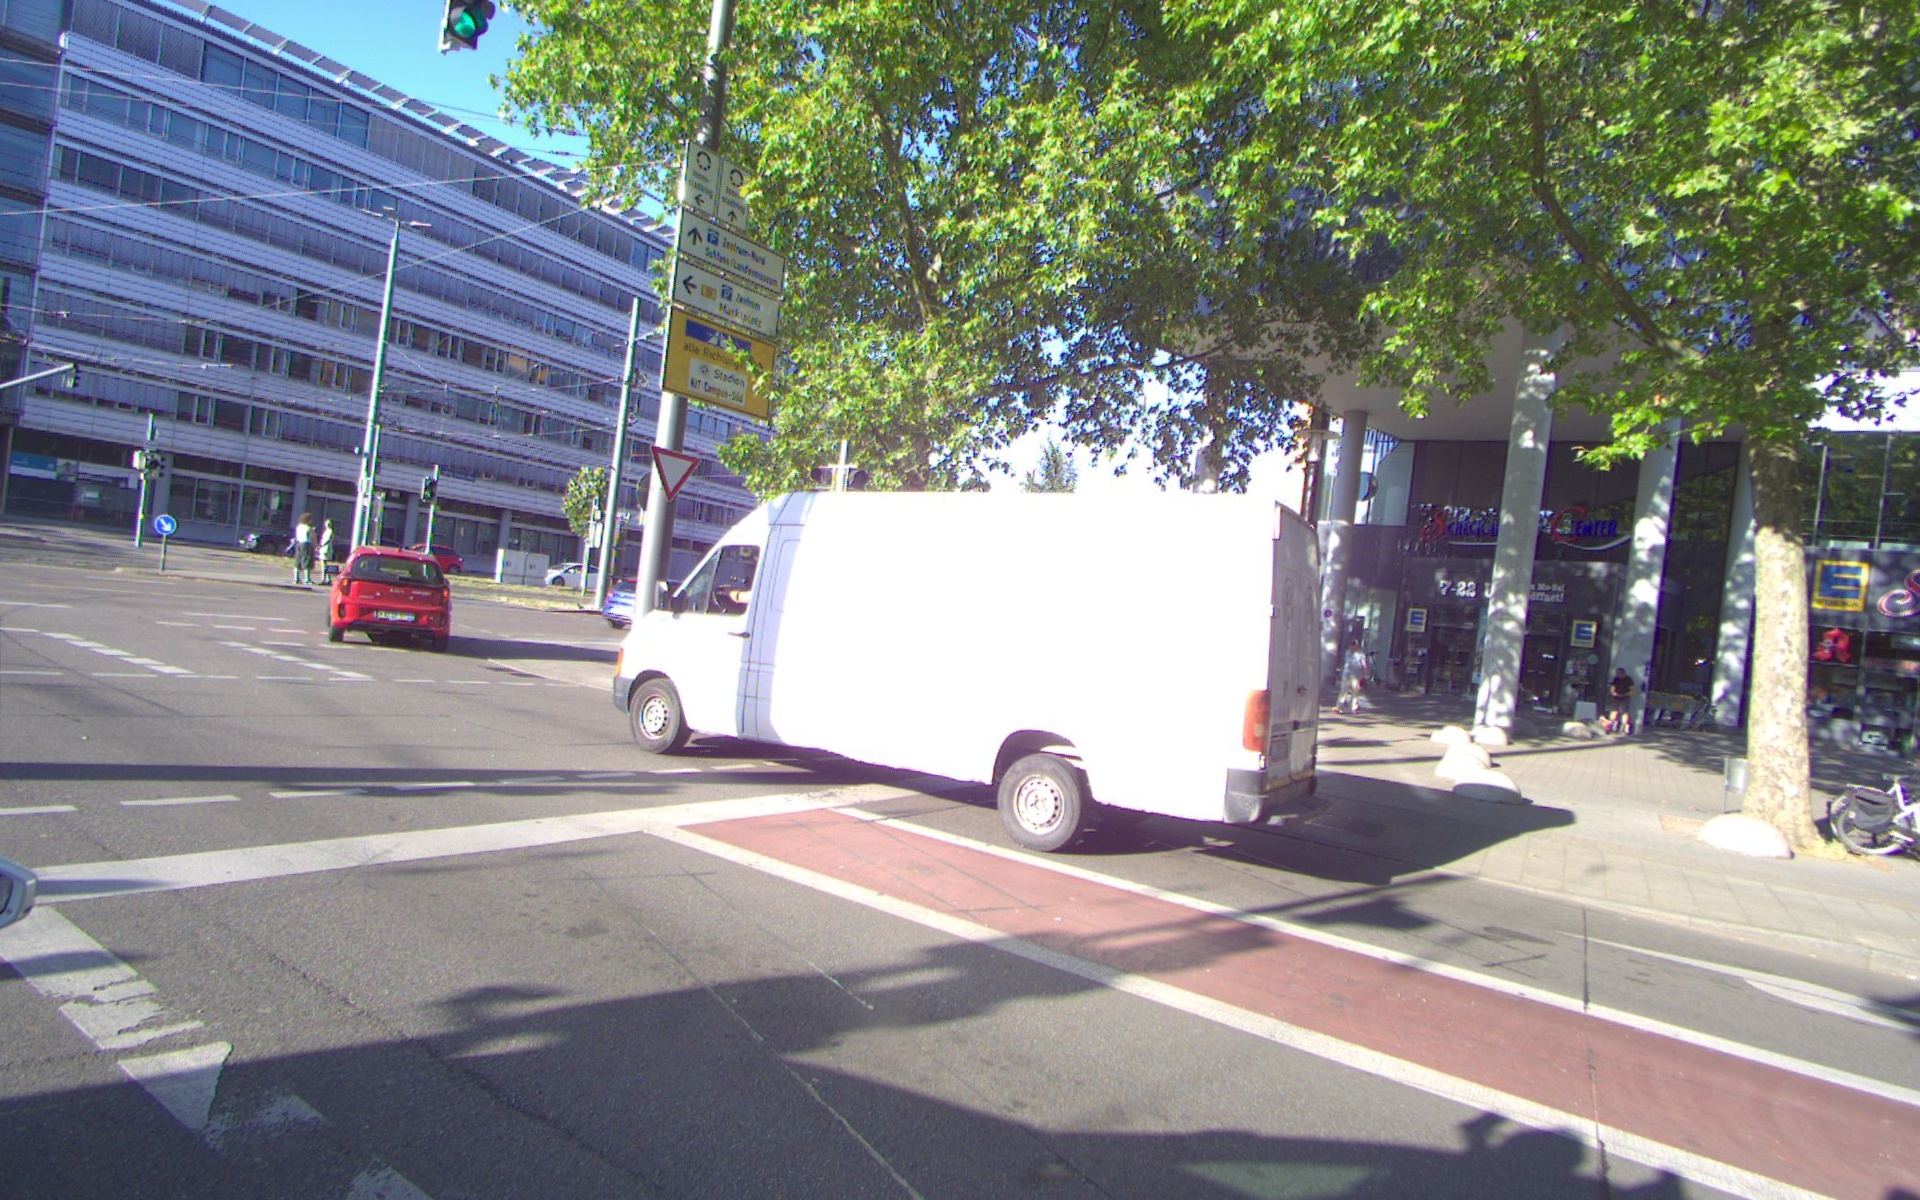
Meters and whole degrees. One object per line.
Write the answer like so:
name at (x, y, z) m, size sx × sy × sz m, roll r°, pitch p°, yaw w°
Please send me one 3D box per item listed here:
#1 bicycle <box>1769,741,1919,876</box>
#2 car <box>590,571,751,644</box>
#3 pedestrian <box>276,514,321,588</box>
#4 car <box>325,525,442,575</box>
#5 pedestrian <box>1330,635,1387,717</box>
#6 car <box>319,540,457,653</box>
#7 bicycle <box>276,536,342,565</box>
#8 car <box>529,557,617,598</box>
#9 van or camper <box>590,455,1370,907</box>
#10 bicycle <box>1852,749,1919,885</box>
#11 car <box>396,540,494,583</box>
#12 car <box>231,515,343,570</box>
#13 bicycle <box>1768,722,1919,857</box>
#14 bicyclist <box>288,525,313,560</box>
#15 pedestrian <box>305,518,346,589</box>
bicycle at (10.874, 2.361, 10.437) m, size 3.759 × 1.234 × 0.756 m, roll 5°, pitch -2°, yaw 38°
car at (-7.715, 0.271, 27.216) m, size 1.722 × 1.476 × 4.212 m, roll 7°, pitch -2°, yaw 25°
pedestrian at (-17.013, -1.258, 25.867) m, size 0.732 × 1.781 × 0.676 m, roll 7°, pitch 1°, yaw 43°
car at (-26.733, -2.291, 46.761) m, size 1.854 × 1.744 × 4.256 m, roll 7°, pitch 0°, yaw 34°
pedestrian at (10.012, 1.898, 25.311) m, size 0.800 × 1.913 × 0.871 m, roll 5°, pitch 1°, yaw -16°
car at (-9.344, -0.111, 16.317) m, size 1.482 × 1.476 × 3.563 m, roll 8°, pitch -1°, yaw -35°
bicycle at (-30.051, -2.272, 46.471) m, size 0.627 × 1.035 × 2.410 m, roll 7°, pitch 0°, yaw 36°
car at (-21.022, -1.218, 54.778) m, size 1.852 × 1.614 × 3.991 m, roll 6°, pitch -2°, yaw 35°
van or camper at (-0.130, 0.346, 8.744) m, size 6.389 × 2.647 × 2.002 m, roll 7°, pitch 0°, yaw 31°
bicycle at (10.175, 2.219, 9.473) m, size 2.514 × 1.234 × 0.756 m, roll 5°, pitch -2°, yaw 37°
car at (-26.495, -1.944, 51.836) m, size 1.769 × 1.569 × 3.990 m, roll 6°, pitch -2°, yaw 36°
car at (-33.474, -2.849, 50.138) m, size 1.967 × 2.037 × 3.995 m, roll 6°, pitch -2°, yaw 32°
bicycle at (11.427, 2.369, 11.086) m, size 3.757 × 1.235 × 0.727 m, roll 10°, pitch 1°, yaw 38°
bicyclist at (-30.245, -2.644, 46.158) m, size 0.604 × 1.521 × 0.663 m, roll 7°, pitch 1°, yaw 37°
pedestrian at (-16.840, -1.235, 26.719) m, size 0.734 × 1.781 × 0.680 m, roll 6°, pitch 1°, yaw -31°
